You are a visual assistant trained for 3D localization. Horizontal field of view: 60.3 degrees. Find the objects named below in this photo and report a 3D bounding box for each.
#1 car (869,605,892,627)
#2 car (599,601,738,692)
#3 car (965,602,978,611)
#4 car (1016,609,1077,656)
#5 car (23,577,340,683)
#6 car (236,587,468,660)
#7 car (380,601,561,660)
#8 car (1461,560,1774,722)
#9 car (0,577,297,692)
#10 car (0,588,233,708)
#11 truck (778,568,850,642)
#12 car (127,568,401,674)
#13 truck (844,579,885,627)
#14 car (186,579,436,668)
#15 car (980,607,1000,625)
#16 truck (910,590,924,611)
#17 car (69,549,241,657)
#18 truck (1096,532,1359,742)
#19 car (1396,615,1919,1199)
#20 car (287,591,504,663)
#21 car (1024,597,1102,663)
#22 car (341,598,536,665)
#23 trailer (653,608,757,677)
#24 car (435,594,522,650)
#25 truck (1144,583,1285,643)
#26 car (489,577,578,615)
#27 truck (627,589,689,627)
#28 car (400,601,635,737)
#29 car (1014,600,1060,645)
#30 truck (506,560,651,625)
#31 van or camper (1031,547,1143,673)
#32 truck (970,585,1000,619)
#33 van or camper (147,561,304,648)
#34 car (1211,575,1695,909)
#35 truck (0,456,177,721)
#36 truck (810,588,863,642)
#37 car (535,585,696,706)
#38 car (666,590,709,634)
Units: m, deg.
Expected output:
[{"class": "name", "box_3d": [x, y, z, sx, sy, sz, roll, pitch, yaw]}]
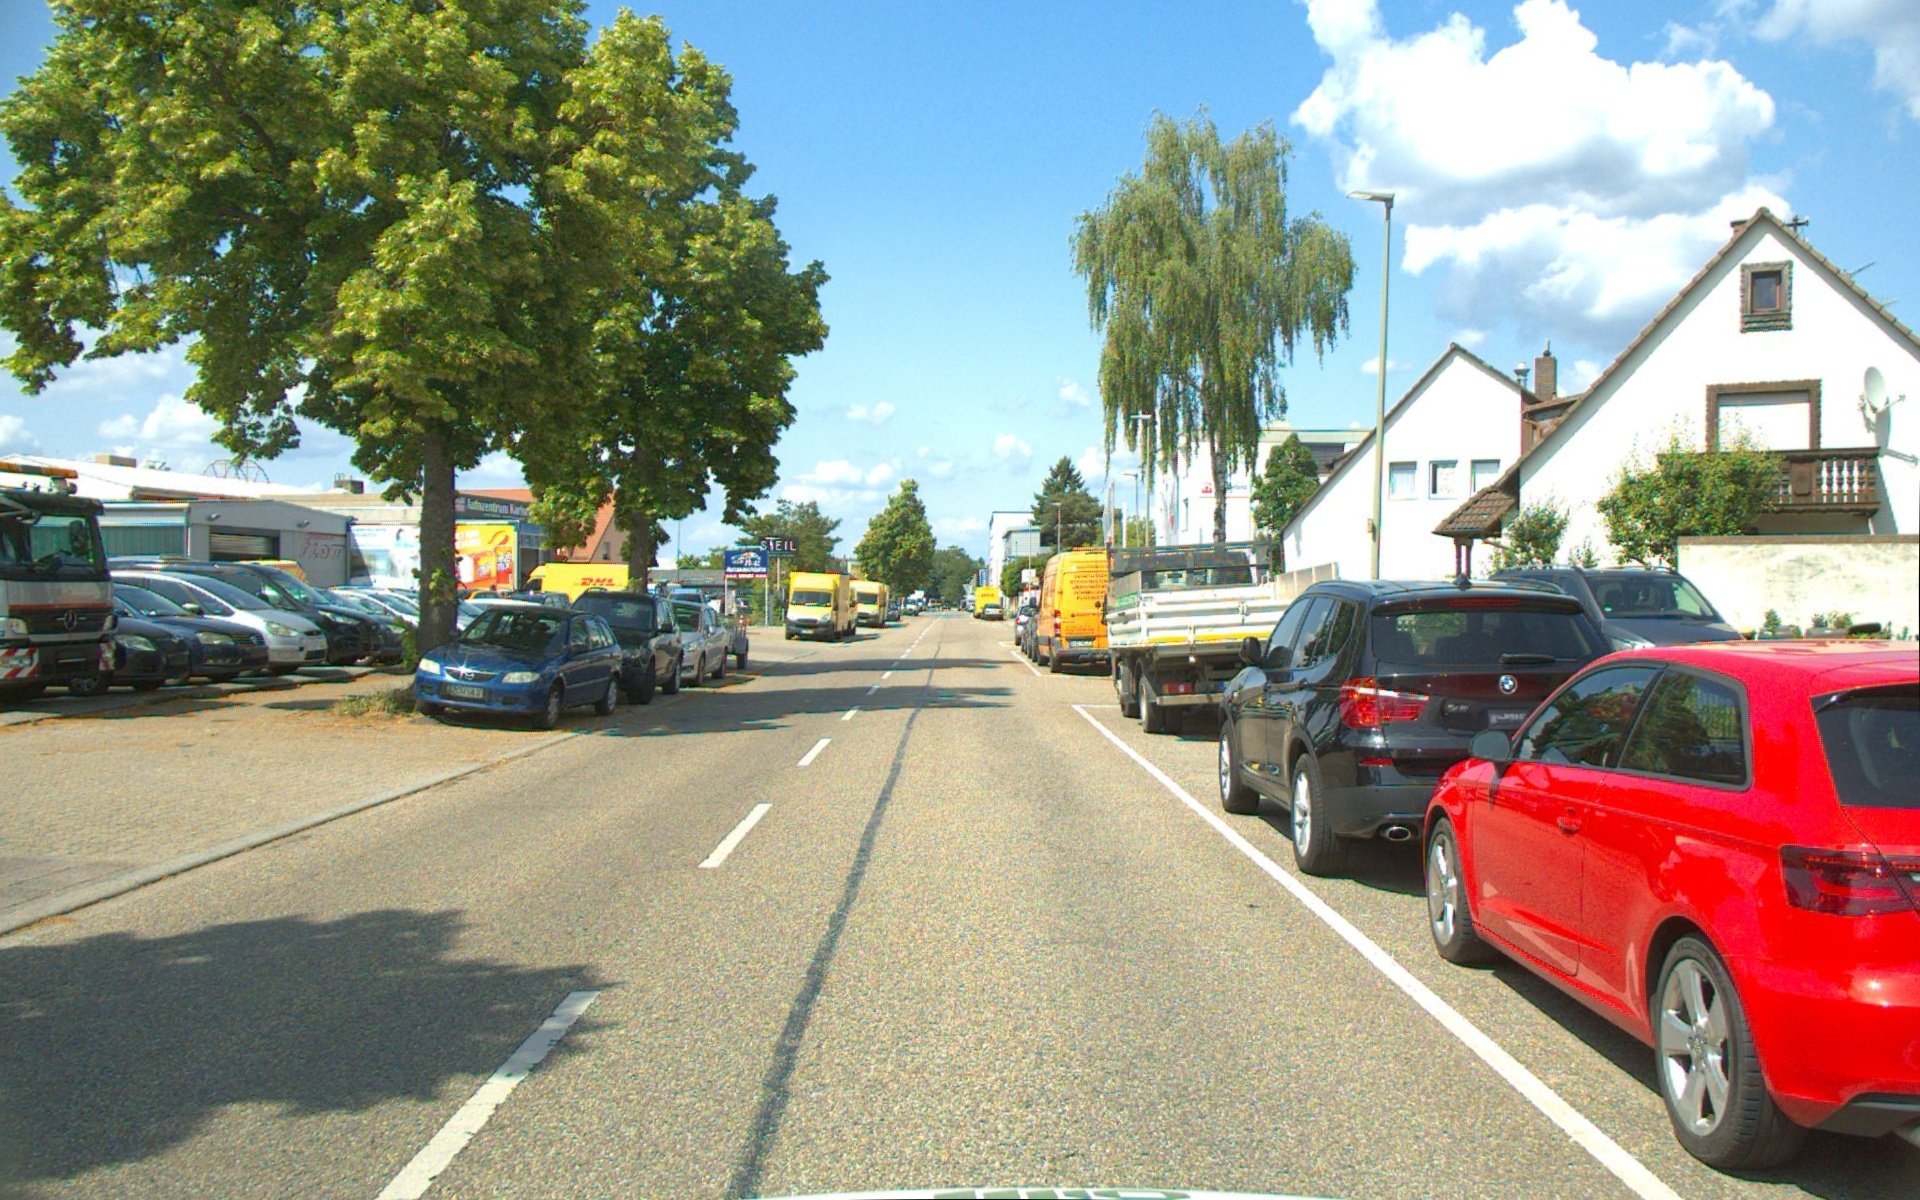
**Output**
[{"class": "car", "box_3d": [-6.341, 1.230, 132.363, 1.690, 1.632, 4.412, 3, 0, -2]}, {"class": "car", "box_3d": [-5.575, 0.843, 32.103, 1.795, 1.555, 4.238, 2, 0, 1]}, {"class": "car", "box_3d": [1.726, 0.917, 247.066, 1.889, 1.333, 4.000, 0, 0, 0]}, {"class": "car", "box_3d": [2.698, 0.993, 52.338, 1.635, 1.358, 4.437, 1, 0, 0]}, {"class": "car", "box_3d": [-12.411, 0.455, 26.573, 4.207, 1.643, 1.827, 0, 1, -1]}, {"class": "car", "box_3d": [-12.450, 0.492, 34.027, 4.058, 1.456, 1.827, 0, -1, 2]}, {"class": "car", "box_3d": [-12.259, 0.745, 41.558, 3.941, 1.398, 1.828, 1, 0, 4]}, {"class": "car", "box_3d": [8.508, 0.481, 21.964, 1.820, 1.898, 5.015, 0, 0, -5]}, {"class": "car", "box_3d": [-12.348, 0.485, 24.344, 4.431, 1.610, 1.828, 0, 1, 2]}, {"class": "car", "box_3d": [-12.086, 0.626, 21.940, 4.110, 1.484, 1.679, -1, 1, 2]}, {"class": "truck", "box_3d": [-6.161, 0.198, 70.645, 2.174, 2.907, 7.070, 2, 0, 1]}, {"class": "car", "box_3d": [-12.255, 0.375, 29.273, 4.058, 1.819, 1.827, 0, -1, 2]}, {"class": "truck", "box_3d": [-5.996, 0.218, 104.234, 2.223, 2.905, 7.172, 1, -1, -1]}, {"class": "car", "box_3d": [-12.414, 0.456, 31.791, 4.058, 1.647, 1.827, 0, -1, 2]}, {"class": "car", "box_3d": [2.615, 1.355, 142.946, 1.618, 1.411, 4.422, 1, 0, 0]}, {"class": "truck", "box_3d": [-6.660, 0.103, 258.563, 1.988, 3.209, 6.499, 0, 0, 0]}, {"class": "car", "box_3d": [-16.147, 0.051, 33.382, 1.676, 2.049, 3.998, 0, 0, -3]}, {"class": "truck", "box_3d": [3.226, 0.411, 21.388, 2.470, 2.339, 5.895, 0, 0, 0]}, {"class": "car", "box_3d": [2.902, 0.810, 5.874, 1.650, 1.460, 4.146, 1, 0, 1]}, {"class": "car", "box_3d": [-12.234, 0.583, 36.013, 4.058, 1.516, 1.827, 0, -1, 2]}, {"class": "car", "box_3d": [2.727, 0.766, 44.575, 1.795, 1.668, 4.239, 0, 0, 0]}, {"class": "car", "box_3d": [-12.176, 0.738, 38.780, 3.942, 1.516, 1.827, 0, -1, 2]}, {"class": "trailer", "box_3d": [-5.650, 0.907, 37.111, 1.726, 1.312, 4.506, 3, 0, -2]}, {"class": "car", "box_3d": [-14.955, 0.654, 51.518, 1.412, 1.685, 3.303, 0, 0, 7]}, {"class": "truck", "box_3d": [11.457, 0.580, 74.445, 5.967, 2.622, 2.545, 0, 0, -27]}, {"class": "car", "box_3d": [-20.324, -0.182, 78.865, 3.760, 1.761, 1.734, 0, 0, 11]}, {"class": "truck", "box_3d": [-20.636, 0.499, 113.374, 2.065, 2.531, 5.725, 0, 0, 13]}, {"class": "car", "box_3d": [-5.620, 0.815, 21.557, 1.664, 1.509, 4.160, 2, 0, 4]}, {"class": "car", "box_3d": [2.859, 0.820, 62.120, 1.577, 1.608, 4.001, 2, 0, 1]}, {"class": "truck", "box_3d": [-18.850, -0.388, 81.807, 6.457, 2.899, 2.531, 2, 0, 12]}, {"class": "van or camper", "box_3d": [2.855, 0.220, 38.450, 1.953, 2.710, 5.767, 0, 0, -2]}, {"class": "truck", "box_3d": [2.335, 0.212, 154.503, 2.424, 2.991, 7.186, 1, 0, -1]}, {"class": "van or camper", "box_3d": [-22.600, 0.080, 51.158, 1.951, 2.518, 5.366, 0, 1, 7]}, {"class": "car", "box_3d": [2.866, 0.724, 10.729, 1.792, 1.691, 4.553, 0, 0, 0]}, {"class": "truck", "box_3d": [-14.494, -0.110, 19.795, 9.063, 2.906, 2.722, 0, 0, 4]}, {"class": "truck", "box_3d": [-5.812, 0.688, 78.532, 1.952, 2.456, 6.065, 0, 0, 1]}, {"class": "car", "box_3d": [-5.488, 0.667, 26.864, 1.659, 1.729, 4.399, 2, 0, -1]}, {"class": "car", "box_3d": [-11.885, 0.505, 72.396, 1.795, 1.735, 4.699, 0, 2, -9]}]
